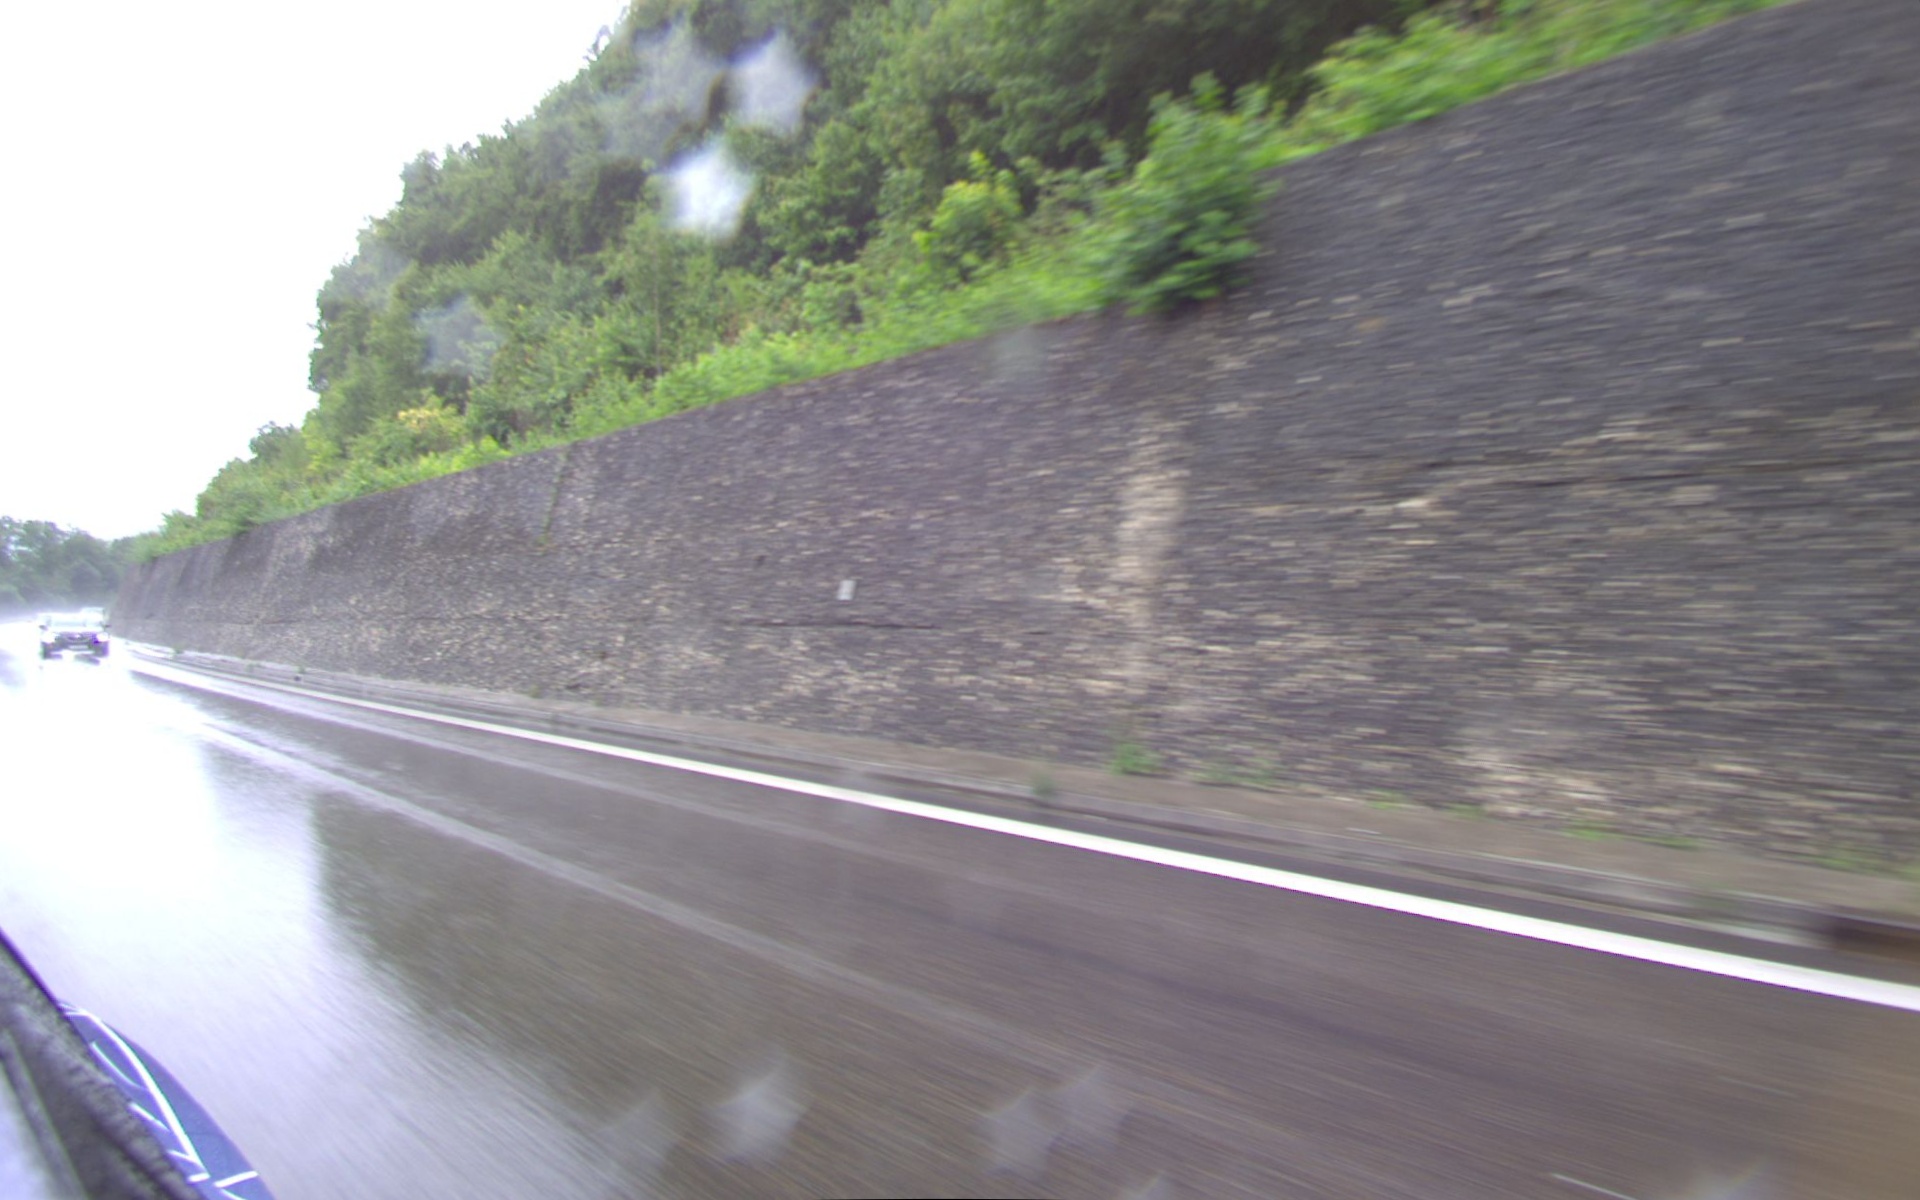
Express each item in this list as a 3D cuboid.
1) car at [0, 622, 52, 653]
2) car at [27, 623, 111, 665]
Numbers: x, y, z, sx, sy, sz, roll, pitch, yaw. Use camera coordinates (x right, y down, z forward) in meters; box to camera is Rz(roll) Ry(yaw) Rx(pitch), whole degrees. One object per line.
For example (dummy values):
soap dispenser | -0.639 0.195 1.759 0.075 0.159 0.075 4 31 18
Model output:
car | -47.916 1.888 51.934 1.800 1.393 4.006 -2 1 -40
car | -31.831 1.531 36.127 3.999 1.393 1.803 -1 -1 42
